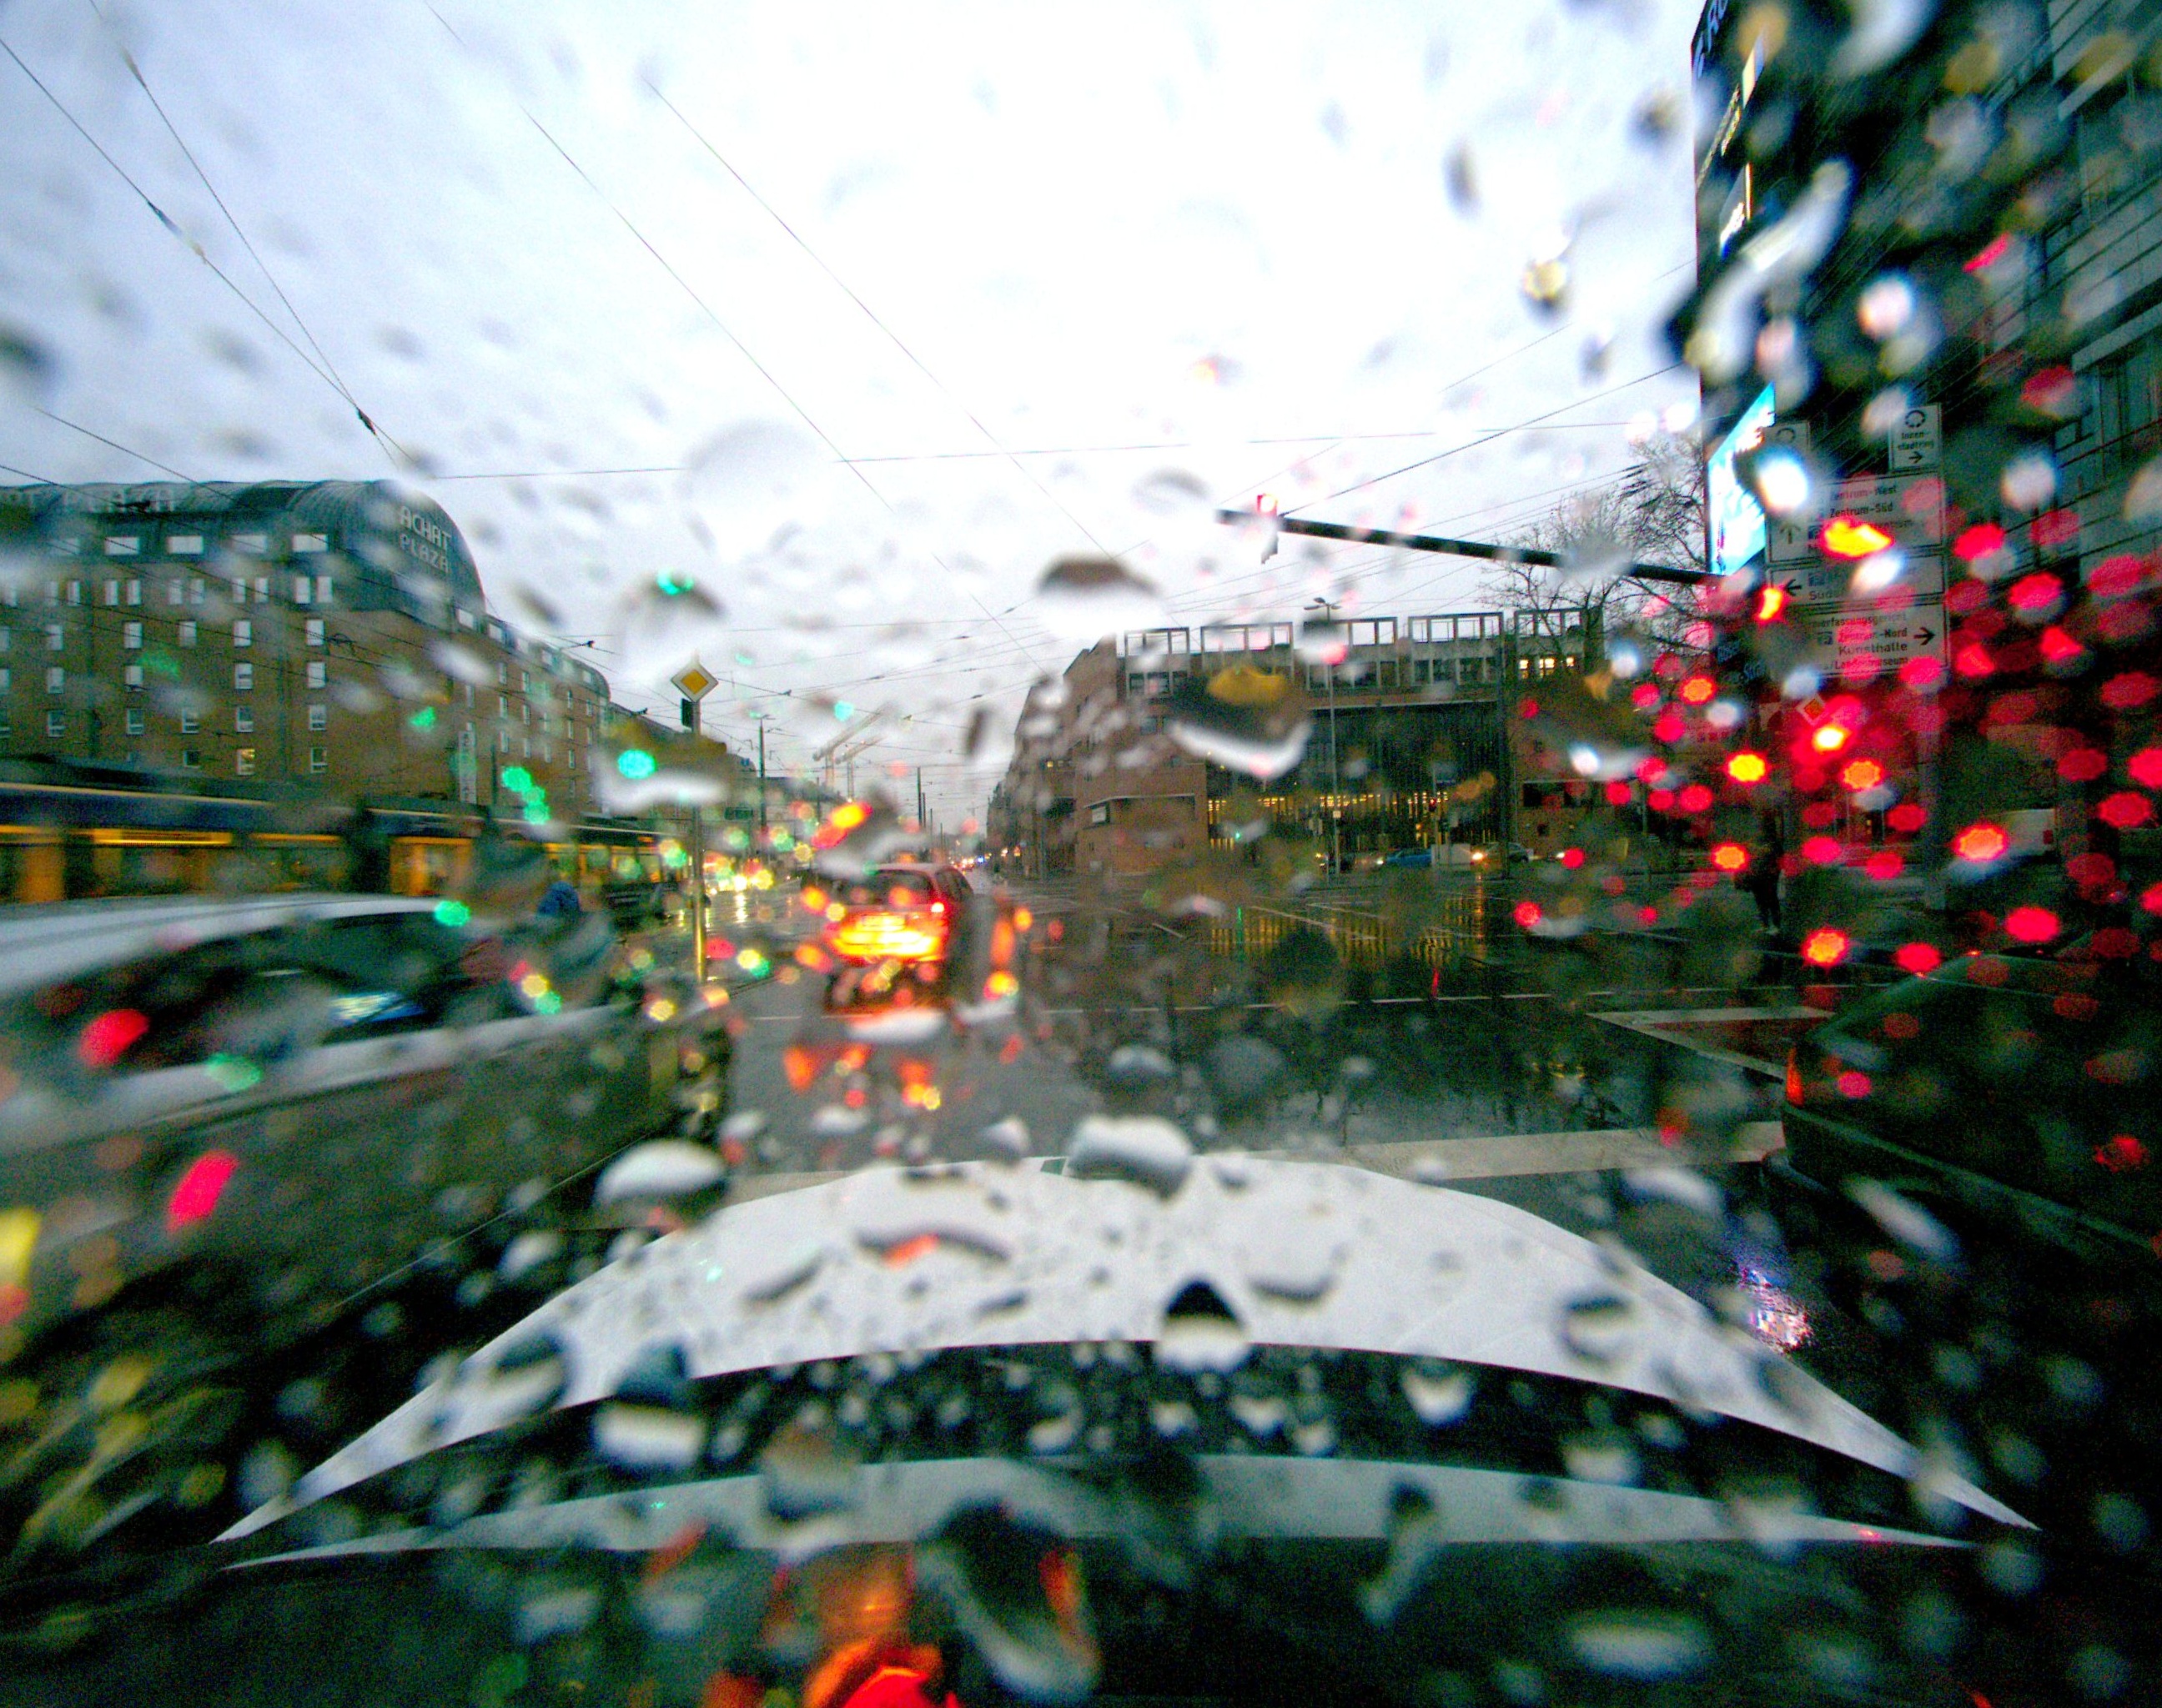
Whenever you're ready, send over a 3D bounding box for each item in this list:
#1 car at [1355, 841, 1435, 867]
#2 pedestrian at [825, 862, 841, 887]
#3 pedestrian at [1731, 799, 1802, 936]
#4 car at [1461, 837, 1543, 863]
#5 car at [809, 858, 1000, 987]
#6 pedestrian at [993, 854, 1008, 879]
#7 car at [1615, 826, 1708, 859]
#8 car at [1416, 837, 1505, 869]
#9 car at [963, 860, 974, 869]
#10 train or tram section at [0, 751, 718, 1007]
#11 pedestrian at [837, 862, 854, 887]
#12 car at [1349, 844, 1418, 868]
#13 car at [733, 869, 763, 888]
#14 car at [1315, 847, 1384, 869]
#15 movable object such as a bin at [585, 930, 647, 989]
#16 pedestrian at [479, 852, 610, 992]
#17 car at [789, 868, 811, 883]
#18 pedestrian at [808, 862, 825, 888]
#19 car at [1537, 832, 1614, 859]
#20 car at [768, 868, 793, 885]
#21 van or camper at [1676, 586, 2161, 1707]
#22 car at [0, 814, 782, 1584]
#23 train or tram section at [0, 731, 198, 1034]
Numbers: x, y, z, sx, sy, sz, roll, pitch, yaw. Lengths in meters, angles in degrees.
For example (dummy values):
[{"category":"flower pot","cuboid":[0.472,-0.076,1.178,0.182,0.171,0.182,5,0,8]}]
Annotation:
[{"category":"car","cuboid":[18.316,0.005,47.535,3.979,1.263,1.845,-2,4,-4]},{"category":"pedestrian","cuboid":[-20.220,1.662,66.390,0.973,2.014,0.838,-1,-1,16]},{"category":"pedestrian","cuboid":[11.242,0.217,13.372,0.574,2.184,0.619,-1,-1,-4]},{"category":"car","cuboid":[24.822,-0.266,48.087,3.979,1.288,1.845,-2,4,-4]},{"category":"car","cuboid":[-2.284,0.822,11.544,1.691,1.459,3.759,-2,0,2]},{"category":"pedestrian","cuboid":[-6.590,1.033,66.433,1.069,2.013,0.682,-2,0,-12]},{"category":"car","cuboid":[32.250,-0.667,45.337,3.979,1.600,1.845,-2,4,-4]},{"category":"car","cuboid":[20.435,-0.067,43.902,3.979,1.504,1.845,-2,4,-4]},{"category":"car","cuboid":[-20.632,1.985,149.400,1.868,1.579,3.991,0,0,-6]},{"category":"train or tram section","cuboid":[-14.840,0.404,21.434,2.858,3.614,19.190,-2,0,-3]},{"category":"pedestrian","cuboid":[-19.555,1.674,67.657,0.973,2.014,0.838,-1,-1,16]},{"category":"car","cuboid":[19.148,0.110,51.604,3.713,1.263,1.845,-2,4,-4]},{"category":"car","cuboid":[-30.032,2.172,73.602,1.787,1.624,3.850,-1,0,-11]},{"category":"car","cuboid":[18.251,0.281,55.455,3.977,1.310,1.998,-2,0,-2]},{"category":"movable object such as a bin","cuboid":[-6.084,1.369,10.657,0.407,0.699,0.541,-4,-2,24]},{"category":"pedestrian","cuboid":[-6.537,0.798,9.964,0.707,1.601,1.042,-4,-1,19]},{"category":"car","cuboid":[-31.980,2.388,92.810,1.787,1.624,3.850,-1,0,-11]},{"category":"pedestrian","cuboid":[-21.126,1.657,65.091,0.973,2.014,0.838,-1,-1,16]},{"category":"car","cuboid":[32.163,-0.593,53.082,3.979,1.504,1.845,-2,4,-4]},{"category":"car","cuboid":[-31.302,2.299,84.926,1.787,1.624,3.850,-1,0,-11]},{"category":"van or camper","cuboid":[2.669,0.494,0.312,1.750,1.906,4.420,-1,0,2]},{"category":"car","cuboid":[-2.832,0.750,3.156,1.699,1.448,4.001,-2,-3,2]},{"category":"train or tram section","cuboid":[-14.394,0.361,1.789,2.855,3.614,20.069,-2,0,0]}]
